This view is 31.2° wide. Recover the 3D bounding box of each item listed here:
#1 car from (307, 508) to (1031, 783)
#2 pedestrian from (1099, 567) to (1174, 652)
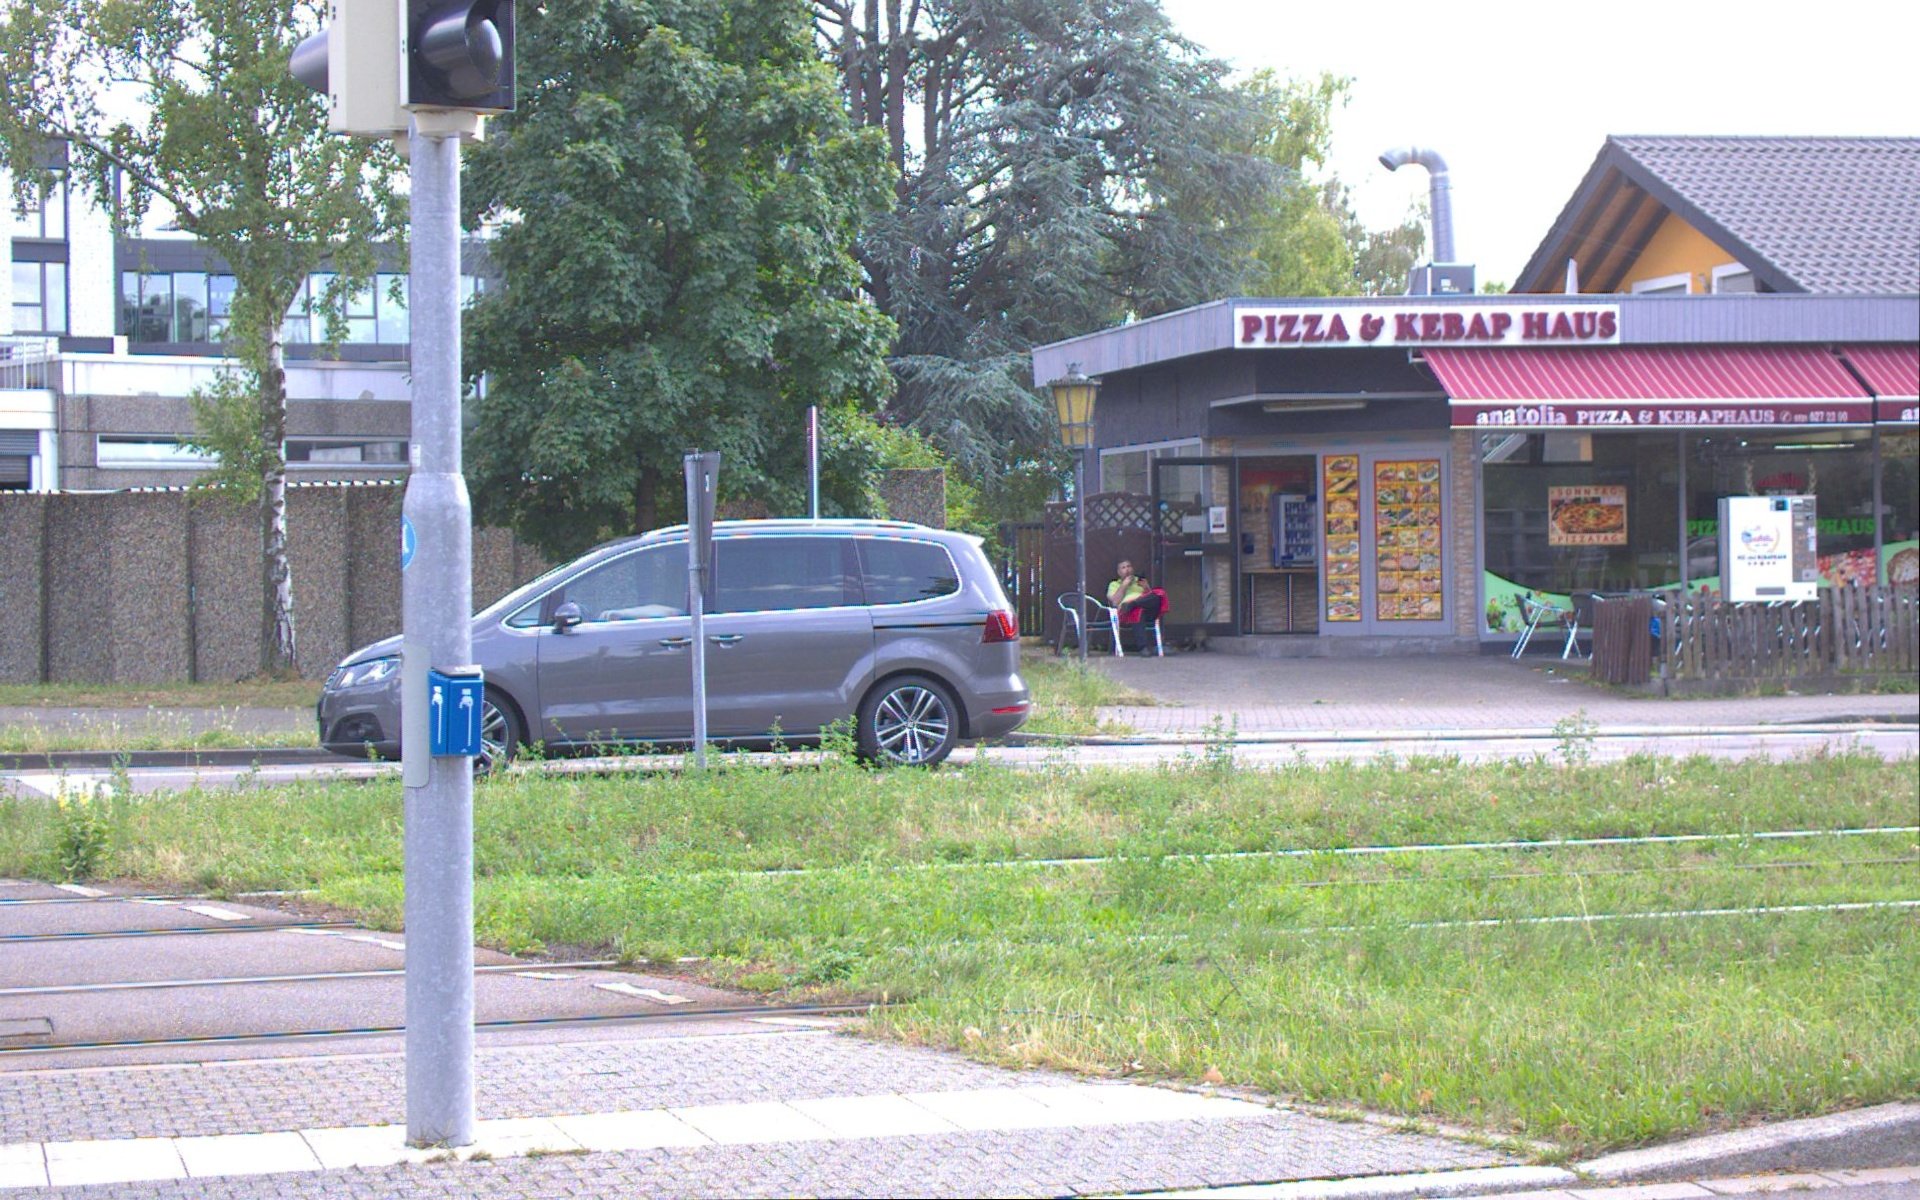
[{"bbox_3d":[-2.044,0.267,23.478,4.723,1.716,2.001,-1,1,-11],"label":"car"},{"bbox_3d":[2.013,0.104,39.327,0.725,0.926,0.777,0,3,-7],"label":"pedestrian"}]
